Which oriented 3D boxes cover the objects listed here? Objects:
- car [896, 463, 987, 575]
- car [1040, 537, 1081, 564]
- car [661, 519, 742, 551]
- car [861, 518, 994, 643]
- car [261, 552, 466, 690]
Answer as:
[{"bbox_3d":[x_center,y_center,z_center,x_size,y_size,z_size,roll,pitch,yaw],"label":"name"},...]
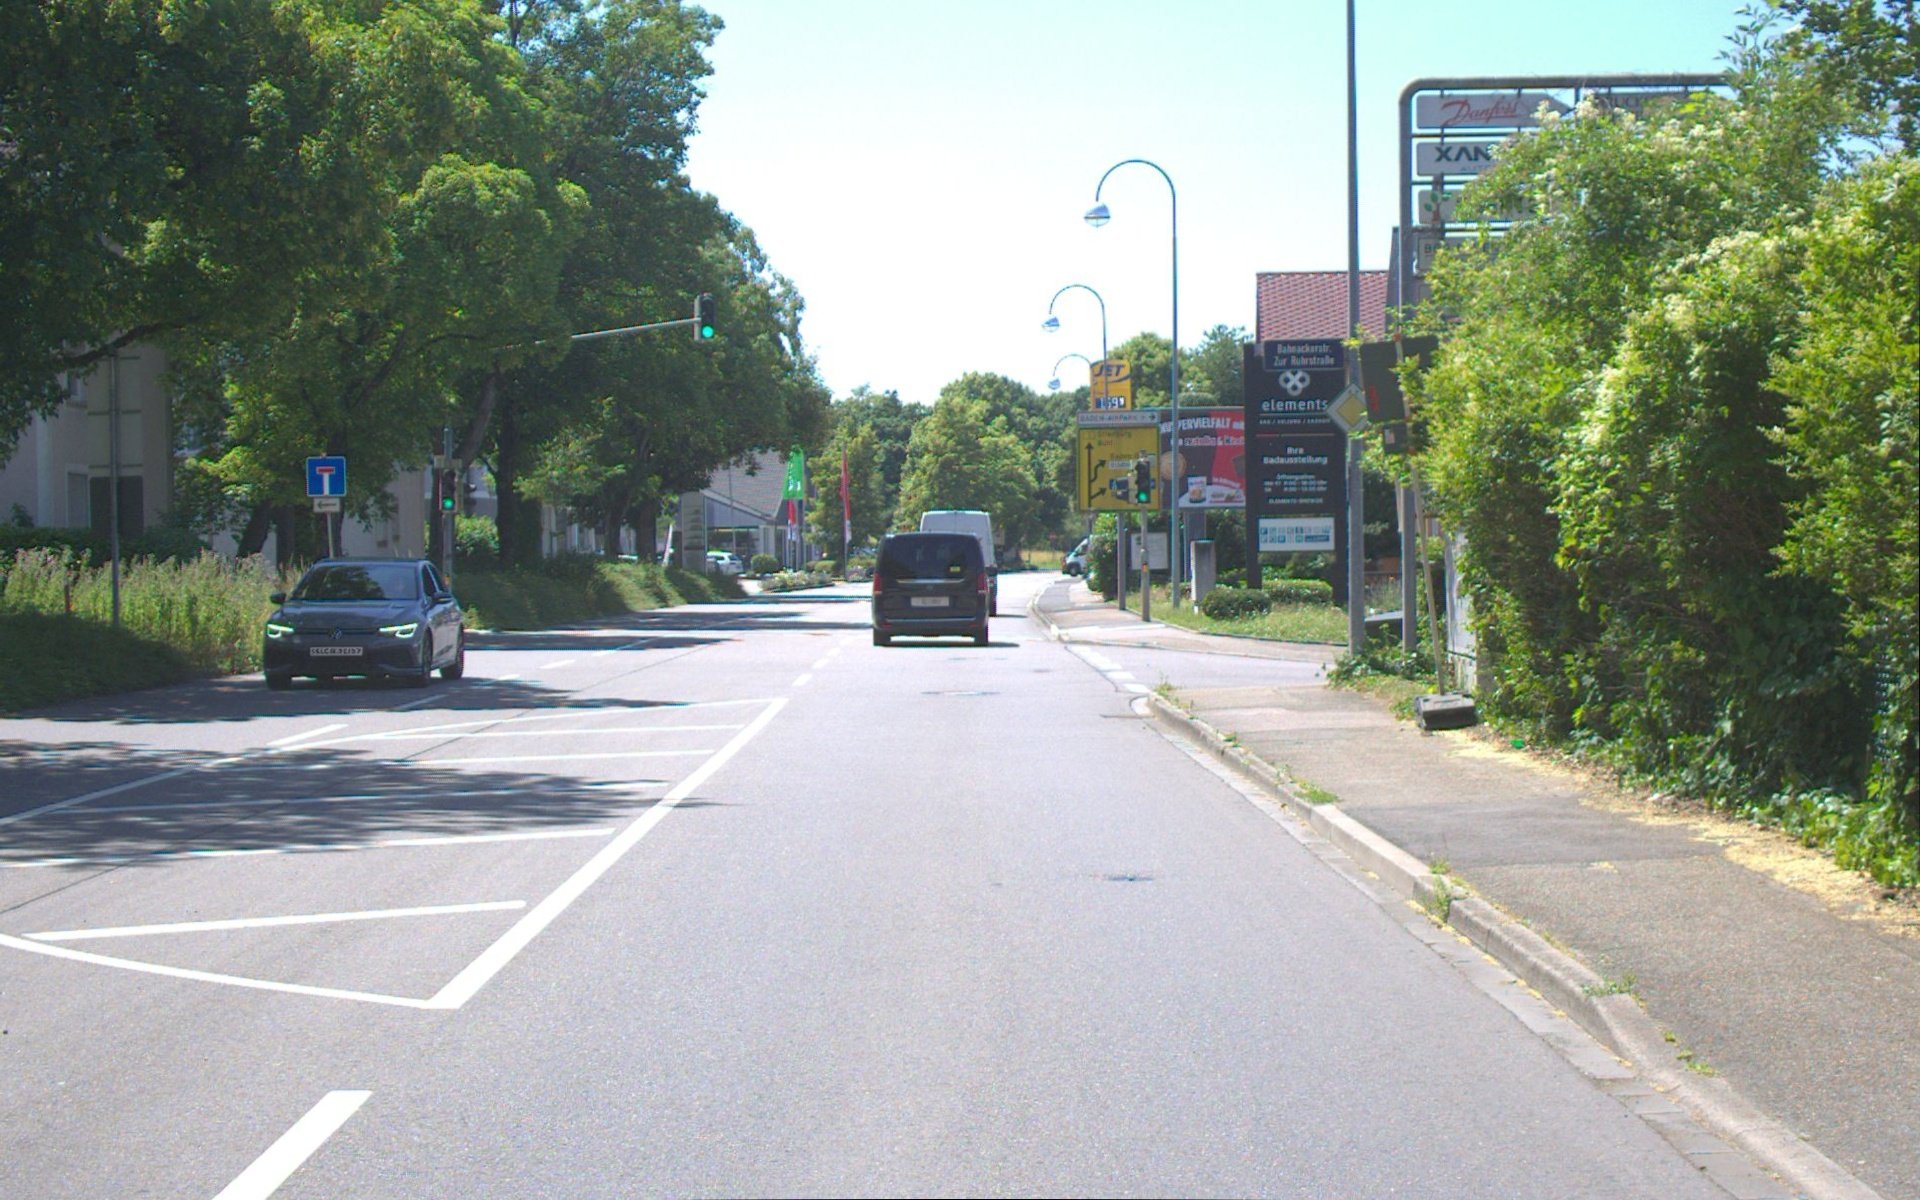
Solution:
[{"bbox_3d":[-0.423,-2.054,85.592,2.120,2.668,5.662,1,2,1],"label":"car"},{"bbox_3d":[6.632,-3.278,227.031,1.859,1.637,3.998,1,2,14],"label":"car"},{"bbox_3d":[-14.136,-3.543,188.149,3.989,1.656,1.999,1,2,11],"label":"car"},{"bbox_3d":[-0.572,-0.350,56.248,1.993,1.886,4.001,1,2,-3],"label":"car"},{"bbox_3d":[-6.707,0.194,39.025,1.721,1.422,4.148,1,1,-2],"label":"car"}]
